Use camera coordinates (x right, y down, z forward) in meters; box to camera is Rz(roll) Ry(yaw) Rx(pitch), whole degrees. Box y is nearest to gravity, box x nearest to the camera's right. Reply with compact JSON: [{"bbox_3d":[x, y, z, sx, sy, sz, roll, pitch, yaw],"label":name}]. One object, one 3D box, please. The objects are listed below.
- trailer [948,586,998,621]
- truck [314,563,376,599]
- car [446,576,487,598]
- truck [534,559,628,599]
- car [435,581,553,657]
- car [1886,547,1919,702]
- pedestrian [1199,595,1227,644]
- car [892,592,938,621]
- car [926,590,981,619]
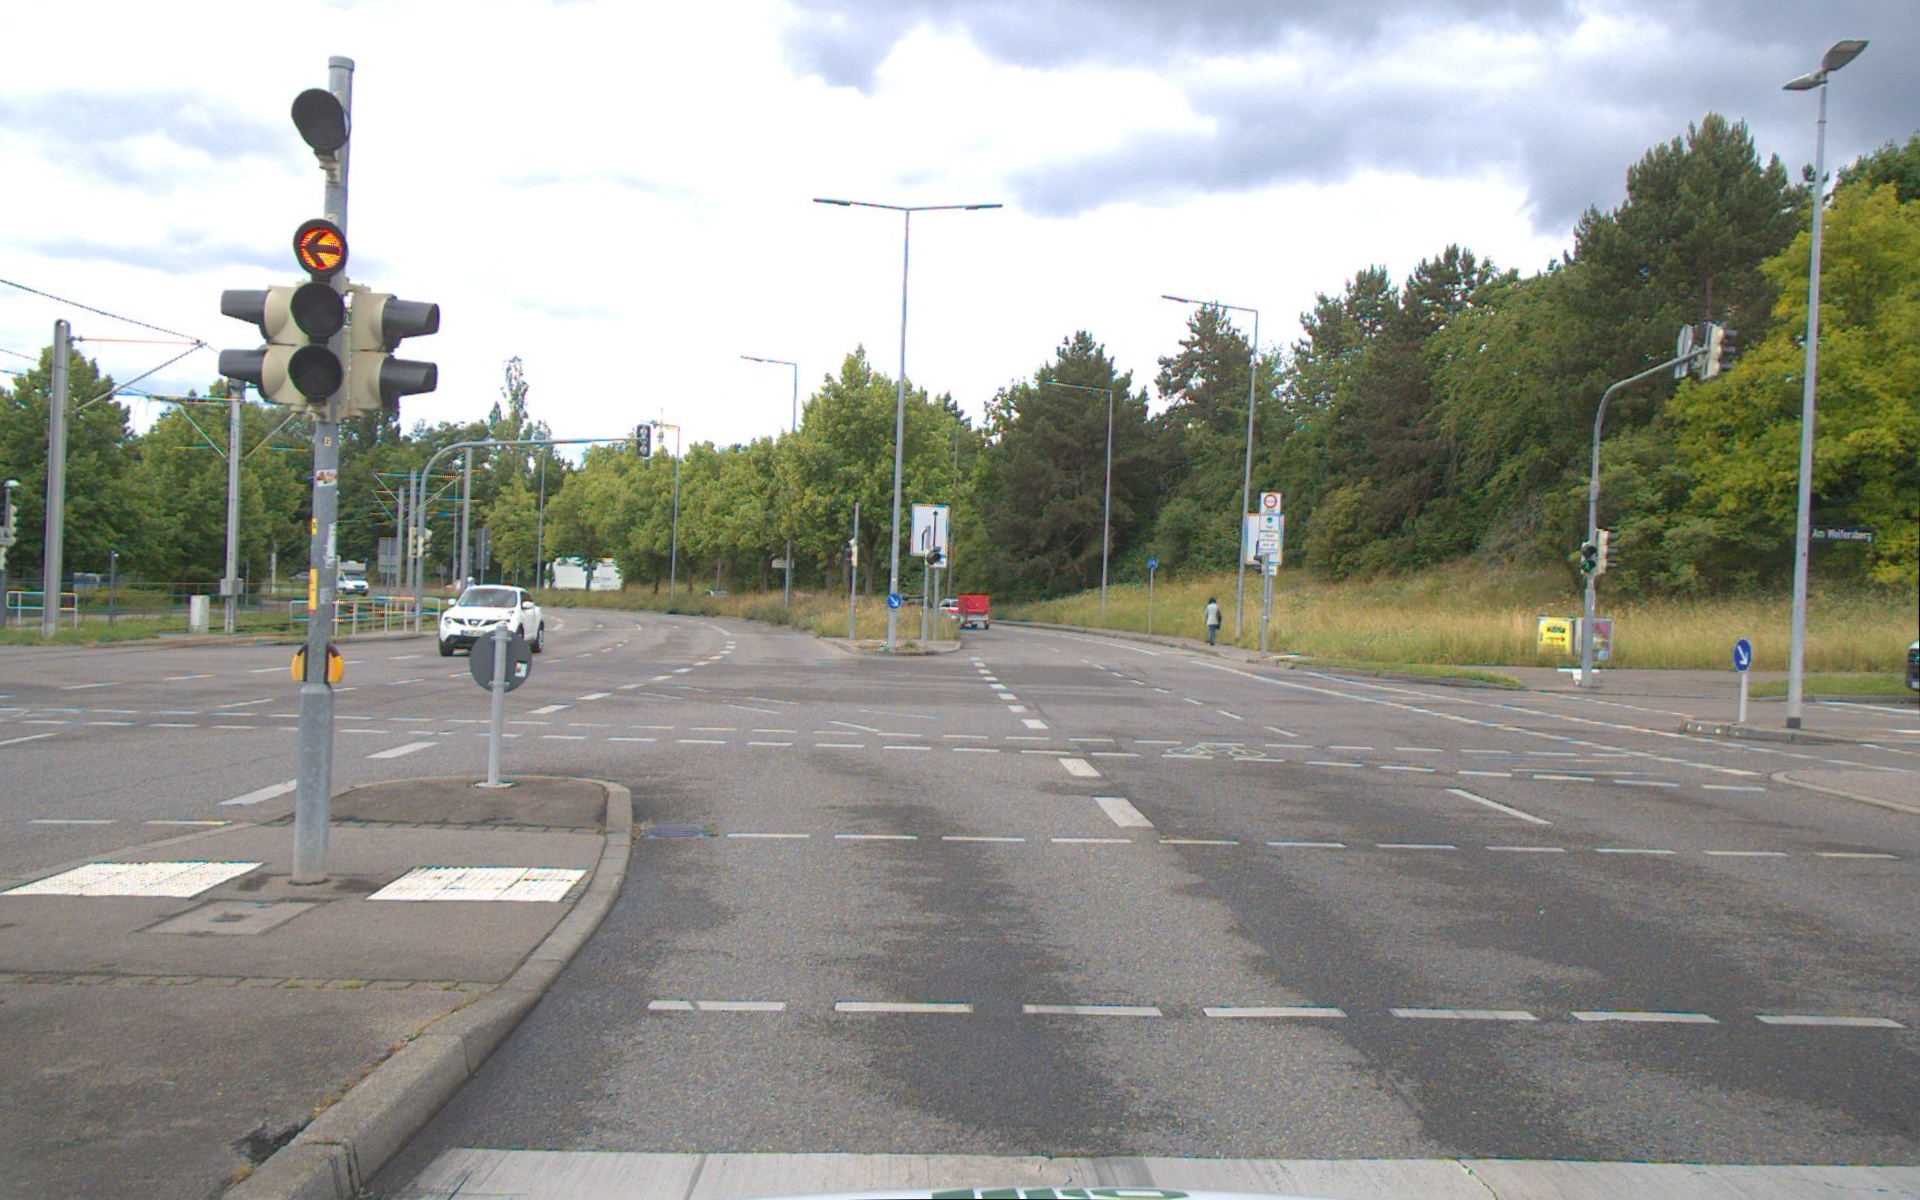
[{"bbox_3d":[0.609,0.149,81.869,1.735,1.644,3.032,1,0,-15],"label":"trailer"},{"bbox_3d":[-54.704,-1.692,147.025,5.775,3.190,2.116,1,0,33],"label":"truck"},{"bbox_3d":[-47.138,-1.217,157.931,3.926,2.049,1.990,1,0,40],"label":"car"},{"bbox_3d":[-33.337,-1.858,144.937,2.727,3.387,11.225,1,1,-43],"label":"truck"},{"bbox_3d":[-10.672,0.405,38.157,1.793,1.657,4.421,0,0,-5],"label":"car"},{"bbox_3d":[20.331,0.469,30.088,5.772,2.830,2.135,0,0,-1],"label":"car"},{"bbox_3d":[8.711,0.677,56.933,0.797,1.656,0.790,1,0,-1],"label":"pedestrian"},{"bbox_3d":[-2.622,0.358,95.165,1.748,1.573,4.009,1,0,-15],"label":"car"},{"bbox_3d":[-0.366,0.220,85.468,1.748,1.446,4.441,1,0,-15],"label":"car"}]
